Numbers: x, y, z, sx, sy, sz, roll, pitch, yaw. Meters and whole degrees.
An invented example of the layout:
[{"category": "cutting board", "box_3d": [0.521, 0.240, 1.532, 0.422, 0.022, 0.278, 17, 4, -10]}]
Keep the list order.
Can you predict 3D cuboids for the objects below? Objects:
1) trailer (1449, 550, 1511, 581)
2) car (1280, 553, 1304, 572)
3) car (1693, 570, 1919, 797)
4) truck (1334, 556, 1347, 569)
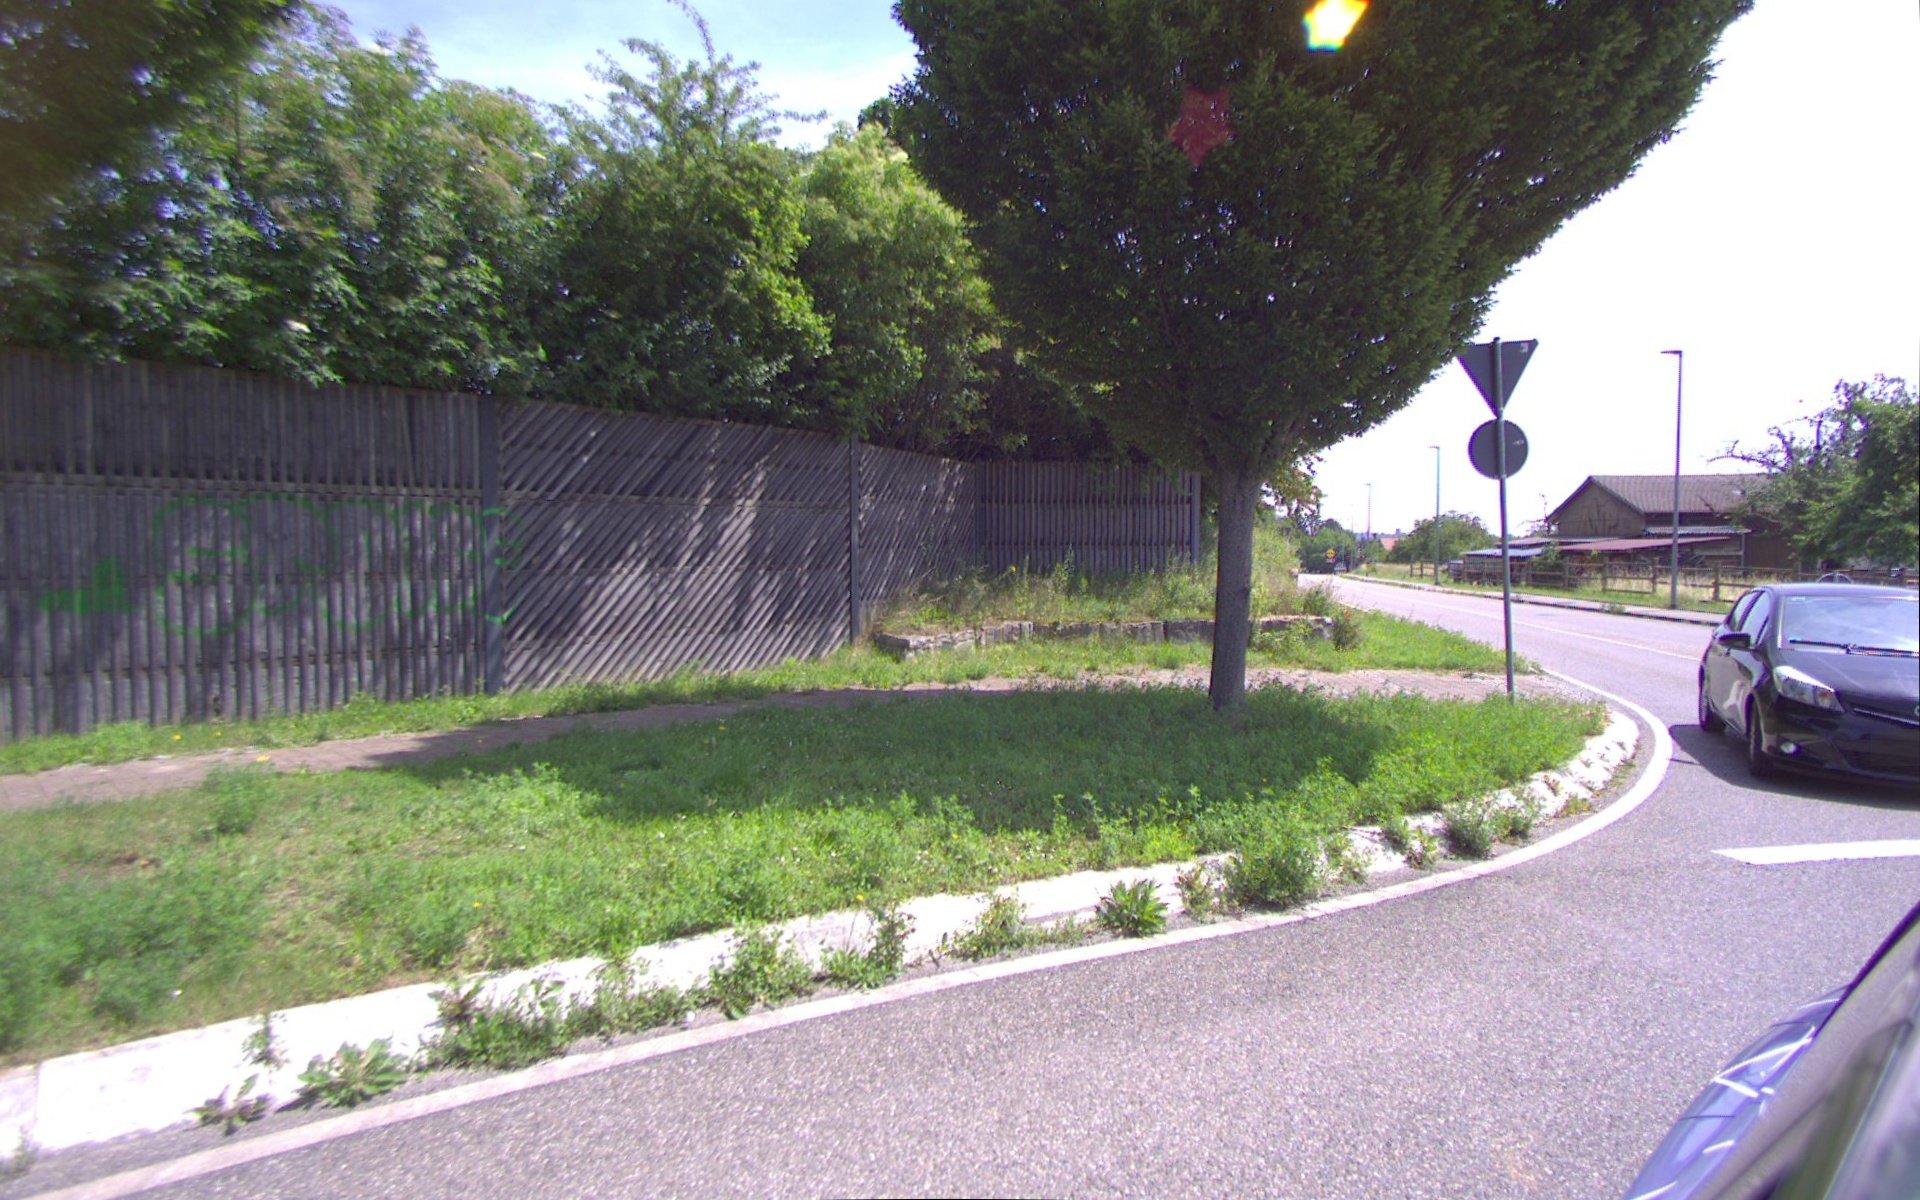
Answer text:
[{"category": "trailer", "box_3d": [31.219, -2.125, 60.951, 2.130, 1.723, 5.010, 2, 3, 14]}, {"category": "car", "box_3d": [37.148, -4.187, 113.439, 2.161, 2.038, 4.762, 0, 2, 14]}, {"category": "car", "box_3d": [7.531, 0.509, 8.584, 1.665, 1.482, 4.385, 3, 3, 31]}, {"category": "truck", "box_3d": [72.195, -7.071, 192.051, 2.201, 2.321, 6.453, 2, 3, 19]}]
